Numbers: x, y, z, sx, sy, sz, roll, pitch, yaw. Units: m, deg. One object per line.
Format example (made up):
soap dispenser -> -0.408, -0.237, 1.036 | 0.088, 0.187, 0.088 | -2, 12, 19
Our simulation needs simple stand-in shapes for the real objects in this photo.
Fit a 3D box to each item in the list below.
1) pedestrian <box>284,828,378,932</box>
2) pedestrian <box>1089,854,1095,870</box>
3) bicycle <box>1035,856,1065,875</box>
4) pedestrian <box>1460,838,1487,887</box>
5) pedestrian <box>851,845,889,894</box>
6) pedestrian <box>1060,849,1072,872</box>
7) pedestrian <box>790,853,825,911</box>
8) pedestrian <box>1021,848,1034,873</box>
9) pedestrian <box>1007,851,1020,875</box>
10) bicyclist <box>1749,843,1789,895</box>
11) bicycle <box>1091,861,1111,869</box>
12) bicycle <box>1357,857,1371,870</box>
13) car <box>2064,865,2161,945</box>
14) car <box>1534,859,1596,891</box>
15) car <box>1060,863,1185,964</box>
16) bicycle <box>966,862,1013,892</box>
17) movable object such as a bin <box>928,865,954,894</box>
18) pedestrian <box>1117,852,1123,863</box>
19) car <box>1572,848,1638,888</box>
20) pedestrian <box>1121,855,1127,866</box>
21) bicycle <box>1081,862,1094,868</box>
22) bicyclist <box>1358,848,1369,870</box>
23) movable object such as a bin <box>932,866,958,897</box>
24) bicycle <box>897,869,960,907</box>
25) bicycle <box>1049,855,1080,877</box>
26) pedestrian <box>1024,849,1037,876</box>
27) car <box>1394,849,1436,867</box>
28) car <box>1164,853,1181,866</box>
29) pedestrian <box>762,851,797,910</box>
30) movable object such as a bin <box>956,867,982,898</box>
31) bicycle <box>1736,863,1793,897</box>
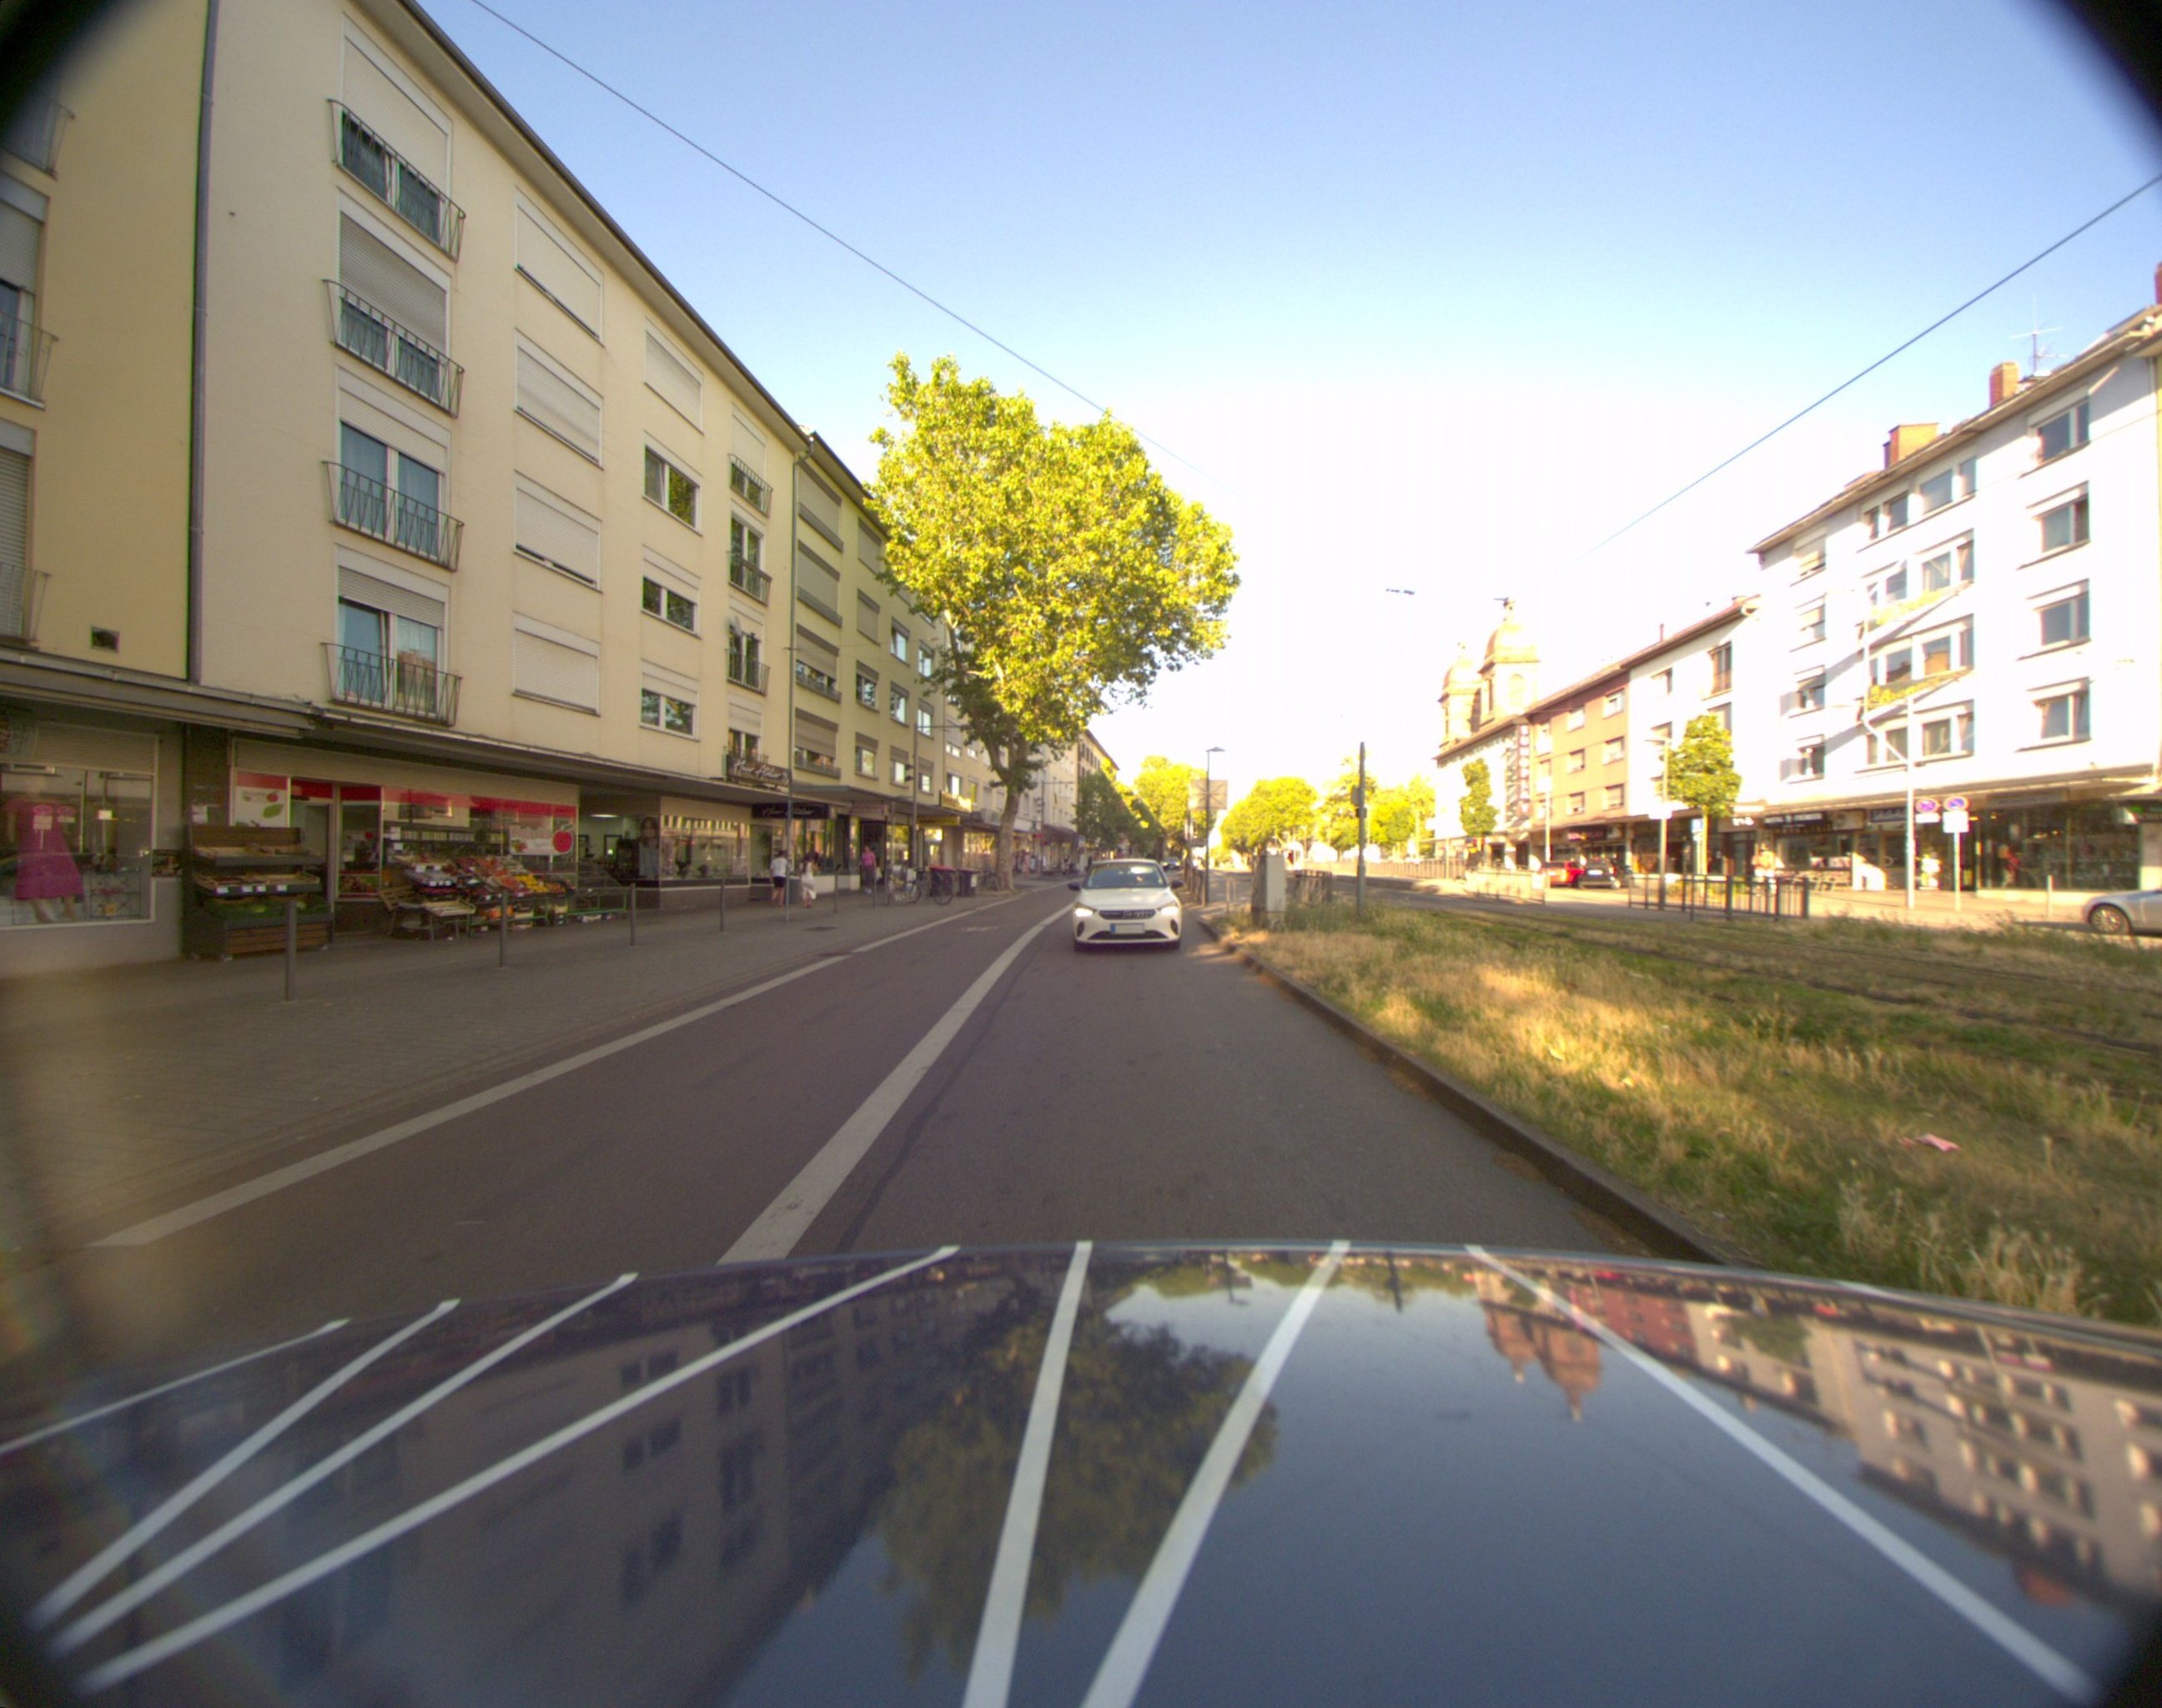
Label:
pedestrian -> -13.034, 0.440, 13.225 | 0.685, 1.733, 0.880 | -2, 1, 5
pedestrian -> 1.105, 0.797, 77.512 | 0.490, 1.559, 0.649 | 2, 1, 10
bicycle -> -2.084, 0.788, 50.593 | 1.795, 1.118, 0.663 | 5, 1, -19
pedestrian -> 14.948, 0.318, 28.955 | 0.743, 1.838, 0.590 | 0, 0, 3
pedestrian -> -7.941, 0.563, 28.575 | 0.969, 1.753, 1.134 | 1, 1, 9
pedestrian -> -1.228, 0.539, 63.087 | 0.774, 1.789, 0.931 | 4, 0, 10
pedestrian -> -7.639, 0.760, 21.232 | 0.636, 1.577, 0.627 | 2, 1, 7
pedestrian -> -3.673, 0.436, 52.146 | 0.569, 1.665, 1.070 | 2, 1, 9
pedestrian -> -4.237, 0.562, 47.897 | 0.541, 1.493, 0.896 | 2, 0, 9
bicyclist -> 25.178, 0.550, 27.810 | 0.693, 1.875, 1.059 | -1, 0, 17
bicycle -> 1.855, 1.010, 70.742 | 1.762, 0.773, 0.702 | 1, 0, -14
bicycle -> 26.368, 0.858, 70.903 | 0.719, 1.223, 2.279 | 1, 0, 7
car -> 21.868, 0.997, 13.992 | 1.998, 1.469, 4.412 | -2, 0, 5
car -> 25.600, 1.071, 40.186 | 3.777, 1.482, 1.859 | -3, 0, -43
car -> 0.709, 0.908, 13.118 | 1.826, 1.433, 3.829 | -1, 0, 3
bicycle -> -3.695, 0.920, 30.613 | 1.721, 1.111, 0.745 | 0, 4, 8
movable object such as a bin -> -5.366, 0.978, 29.172 | 0.722, 1.066, 0.645 | 2, 1, 27
pedestrian -> 5.989, 0.501, 116.591 | 0.851, 1.645, 0.916 | -2, 1, 8
car -> 25.810, 0.657, 37.389 | 3.777, 1.789, 1.859 | -3, 0, -43
pedestrian -> 6.899, 1.023, 122.913 | 0.851, 1.645, 0.916 | -2, 1, 8
bicycle -> 0.603, 1.006, 70.951 | 0.840, 0.569, 1.758 | 1, 0, -14
bicyclist -> 26.365, 0.466, 70.831 | 0.765, 2.002, 0.912 | 1, 0, 7
movable object such as a bin -> -5.057, 1.024, 28.340 | 0.723, 1.066, 0.644 | 5, 2, 6
bicycle -> -4.916, 1.077, 24.441 | 1.909, 1.098, 0.519 | 3, 1, 14
bicycle -> -1.077, 0.784, 49.472 | 1.788, 1.304, 0.695 | 6, 2, 20
pedestrian -> -3.143, 0.531, 47.173 | 0.547, 1.619, 0.896 | 2, 0, 9
car -> 29.845, 0.320, 67.823 | 4.007, 1.477, 1.739 | -2, 0, -39
car -> 10.527, 0.670, 87.666 | 1.717, 1.390, 4.001 | -2, 0, 4
pedestrian -> -8.363, 0.730, 21.089 | 0.623, 1.577, 0.627 | 2, 1, 7
movable object such as a bin -> -4.183, 1.053, 28.381 | 0.723, 1.096, 0.645 | 4, 2, 15
bicycle -> 25.273, 0.940, 28.140 | 0.706, 1.152, 2.201 | -1, 1, 17
